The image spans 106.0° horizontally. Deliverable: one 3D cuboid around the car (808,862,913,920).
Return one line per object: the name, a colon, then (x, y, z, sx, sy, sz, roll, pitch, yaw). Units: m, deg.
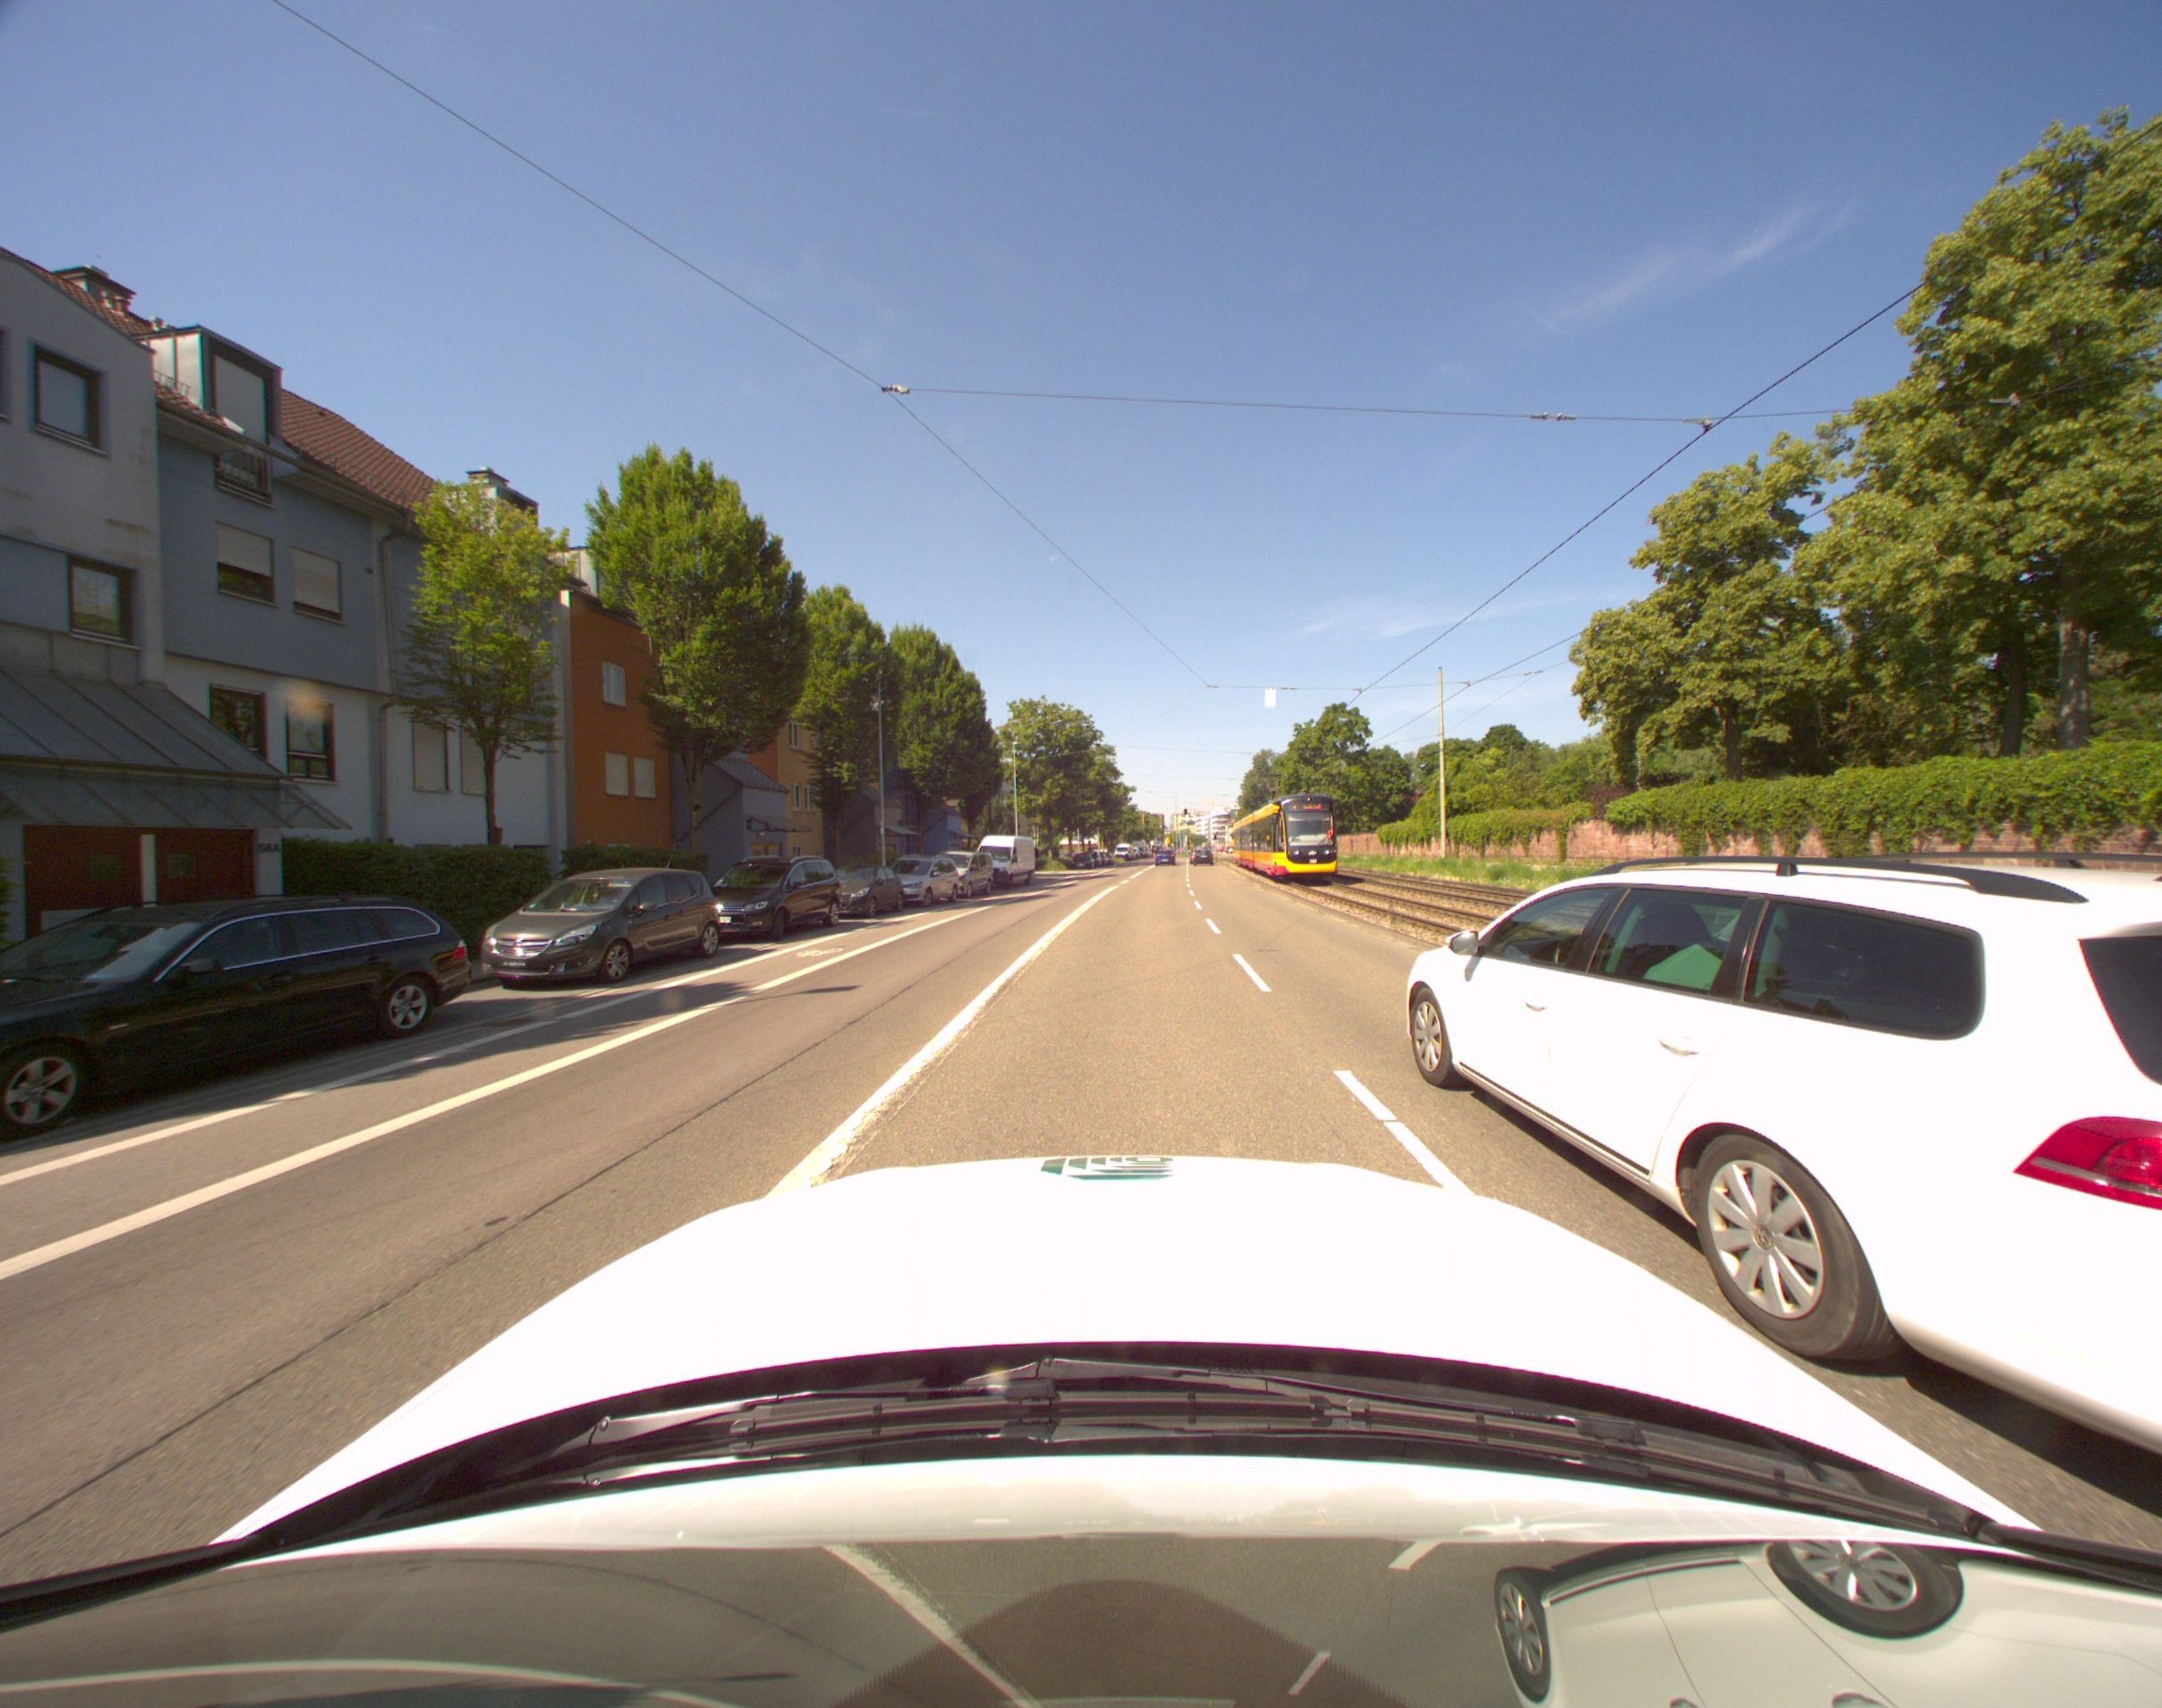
car: (-6.410, 1.024, 24.153, 1.682, 1.474, 4.054, 1, 0, 5)

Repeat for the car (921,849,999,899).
car: (-5.065, 0.780, 34.908, 1.909, 1.948, 5.365, 1, 0, 7)

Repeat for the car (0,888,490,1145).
car: (-7.850, 1.153, 7.181, 1.716, 1.474, 4.717, 0, 0, 2)

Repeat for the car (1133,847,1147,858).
car: (10.110, -0.319, 140.336, 1.814, 1.867, 4.739, -2, 0, 11)

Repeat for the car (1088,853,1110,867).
car: (1.951, 0.654, 86.162, 1.689, 1.352, 4.012, -2, 0, 11)

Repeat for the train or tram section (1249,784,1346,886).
train or tram section: (9.516, -0.772, 37.369, 2.497, 3.747, 13.339, -2, 0, 8)

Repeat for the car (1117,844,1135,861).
car: (6.703, -0.251, 120.138, 1.868, 2.415, 5.132, -2, 0, 11)

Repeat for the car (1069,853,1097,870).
car: (0.213, 0.619, 73.352, 1.689, 1.417, 4.012, -2, 0, 11)

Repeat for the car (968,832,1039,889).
car: (-3.947, 0.288, 42.994, 1.983, 2.714, 7.174, 1, 0, 8)

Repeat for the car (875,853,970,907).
car: (-5.586, 0.857, 29.322, 1.790, 1.724, 4.921, 1, 1, 8)

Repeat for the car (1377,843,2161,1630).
car: (2.945, 0.701, 3.748, 1.684, 1.451, 4.461, -2, 0, 2)

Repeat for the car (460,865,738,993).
car: (-7.429, 1.041, 13.156, 1.709, 1.625, 4.317, 0, 0, 3)

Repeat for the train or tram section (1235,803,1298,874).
train or tram section: (11.257, -0.916, 50.569, 2.497, 3.747, 13.339, -2, 0, 8)

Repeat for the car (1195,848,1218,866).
car: (10.744, 0.243, 70.043, 1.791, 1.507, 4.008, -1, 1, 7)

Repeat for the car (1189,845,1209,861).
car: (11.168, -0.114, 77.220, 1.791, 1.460, 4.008, -1, 1, 7)

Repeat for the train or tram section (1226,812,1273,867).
train or tram section: (12.997, -1.071, 63.764, 2.497, 3.747, 13.339, -2, 0, 8)

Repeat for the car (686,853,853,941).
car: (-6.896, 0.861, 18.683, 1.762, 1.723, 4.873, 0, 0, 2)

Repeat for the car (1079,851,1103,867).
car: (1.032, 0.464, 80.682, 1.689, 1.482, 4.012, -2, 0, 11)

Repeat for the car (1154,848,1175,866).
car: (7.473, 0.261, 72.521, 1.791, 1.507, 4.008, -1, 1, 7)
